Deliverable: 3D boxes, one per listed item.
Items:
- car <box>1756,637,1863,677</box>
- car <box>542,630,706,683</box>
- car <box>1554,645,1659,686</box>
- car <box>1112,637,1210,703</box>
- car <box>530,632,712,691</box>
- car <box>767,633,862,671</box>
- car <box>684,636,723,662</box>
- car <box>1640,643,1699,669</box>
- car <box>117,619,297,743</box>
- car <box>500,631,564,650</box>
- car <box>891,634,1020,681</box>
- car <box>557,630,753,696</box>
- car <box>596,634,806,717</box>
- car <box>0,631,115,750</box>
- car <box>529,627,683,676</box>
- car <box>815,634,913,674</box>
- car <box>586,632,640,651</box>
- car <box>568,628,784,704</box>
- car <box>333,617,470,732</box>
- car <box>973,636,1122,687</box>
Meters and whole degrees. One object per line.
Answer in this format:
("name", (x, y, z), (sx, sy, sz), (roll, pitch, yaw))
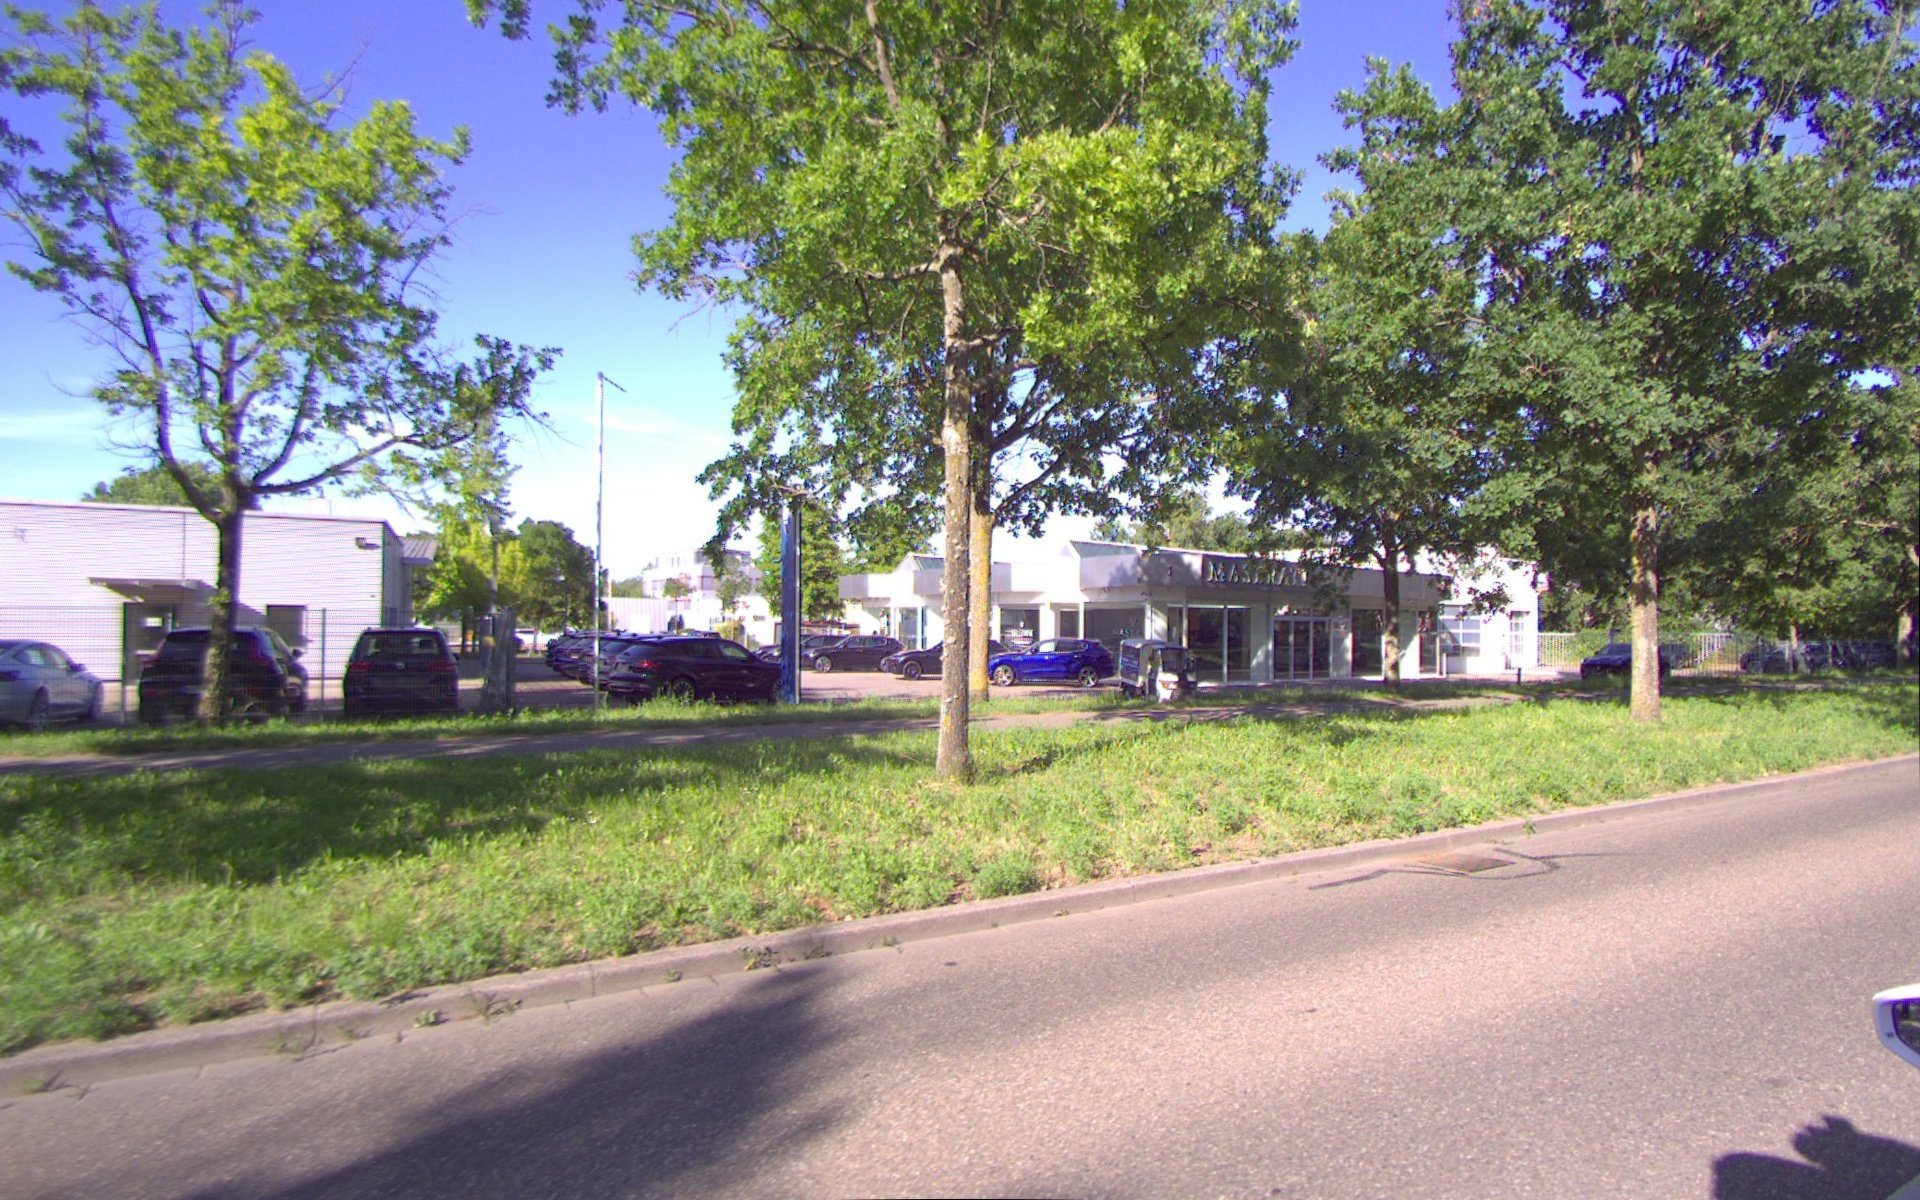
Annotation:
("car", (44.210, 2.939, 52.335), (1.983, 1.825, 3.956), (2, 0, -38))
("car", (-11.898, 1.956, 35.821), (5.224, 1.683, 1.974), (2, 0, -44))
("car", (28.151, 2.809, 43.706), (4.961, 1.619, 1.982), (2, 0, -33))
("car", (4.826, 1.650, 24.364), (1.401, 1.489, 2.569), (1, -2, -14))
("car", (-10.853, 1.901, 32.420), (5.224, 1.683, 1.974), (2, 0, -44))
("car", (-7.003, 2.472, 48.104), (4.239, 1.683, 1.992), (1, -1, -18))
("car", (-19.608, 3.747, 76.684), (1.975, 1.772, 3.970), (2, 0, -28))
("car", (47.564, 3.708, 67.306), (4.842, 1.587, 1.978), (2, 0, -38))
("car", (-12.800, 1.283, 17.340), (1.838, 1.769, 3.971), (2, 0, -28))
("car", (-39.603, 3.697, 92.945), (5.362, 1.683, 1.986), (1, -1, -28))
("car", (-0.217, 2.221, 39.269), (4.913, 1.683, 1.999), (0, 0, -4))
("car", (-8.923, 1.790, 29.703), (5.224, 1.712, 1.974), (2, 0, -44))
("car", (-6.077, 1.698, 23.919), (1.972, 1.697, 4.474), (1, 0, 43))
("car", (-15.264, 1.341, 16.010), (1.838, 1.539, 4.293), (2, 0, -28))
("car", (-13.480, 1.926, 38.509), (5.224, 1.683, 1.974), (2, 0, -44))
("car", (-4.341, 2.419, 45.038), (4.231, 1.683, 1.996), (1, -1, -11))
("car", (-31.900, 3.826, 92.390), (4.462, 1.683, 1.986), (1, -1, -28))
("car", (-7.428, 1.669, 26.703), (1.973, 1.740, 5.227), (1, 0, 44))
("car", (-10.212, 1.269, 18.582), (1.975, 1.765, 3.972), (2, 0, -27))
("car", (3.143, 2.166, 35.886), (5.153, 1.683, 2.001), (0, 0, 8))
